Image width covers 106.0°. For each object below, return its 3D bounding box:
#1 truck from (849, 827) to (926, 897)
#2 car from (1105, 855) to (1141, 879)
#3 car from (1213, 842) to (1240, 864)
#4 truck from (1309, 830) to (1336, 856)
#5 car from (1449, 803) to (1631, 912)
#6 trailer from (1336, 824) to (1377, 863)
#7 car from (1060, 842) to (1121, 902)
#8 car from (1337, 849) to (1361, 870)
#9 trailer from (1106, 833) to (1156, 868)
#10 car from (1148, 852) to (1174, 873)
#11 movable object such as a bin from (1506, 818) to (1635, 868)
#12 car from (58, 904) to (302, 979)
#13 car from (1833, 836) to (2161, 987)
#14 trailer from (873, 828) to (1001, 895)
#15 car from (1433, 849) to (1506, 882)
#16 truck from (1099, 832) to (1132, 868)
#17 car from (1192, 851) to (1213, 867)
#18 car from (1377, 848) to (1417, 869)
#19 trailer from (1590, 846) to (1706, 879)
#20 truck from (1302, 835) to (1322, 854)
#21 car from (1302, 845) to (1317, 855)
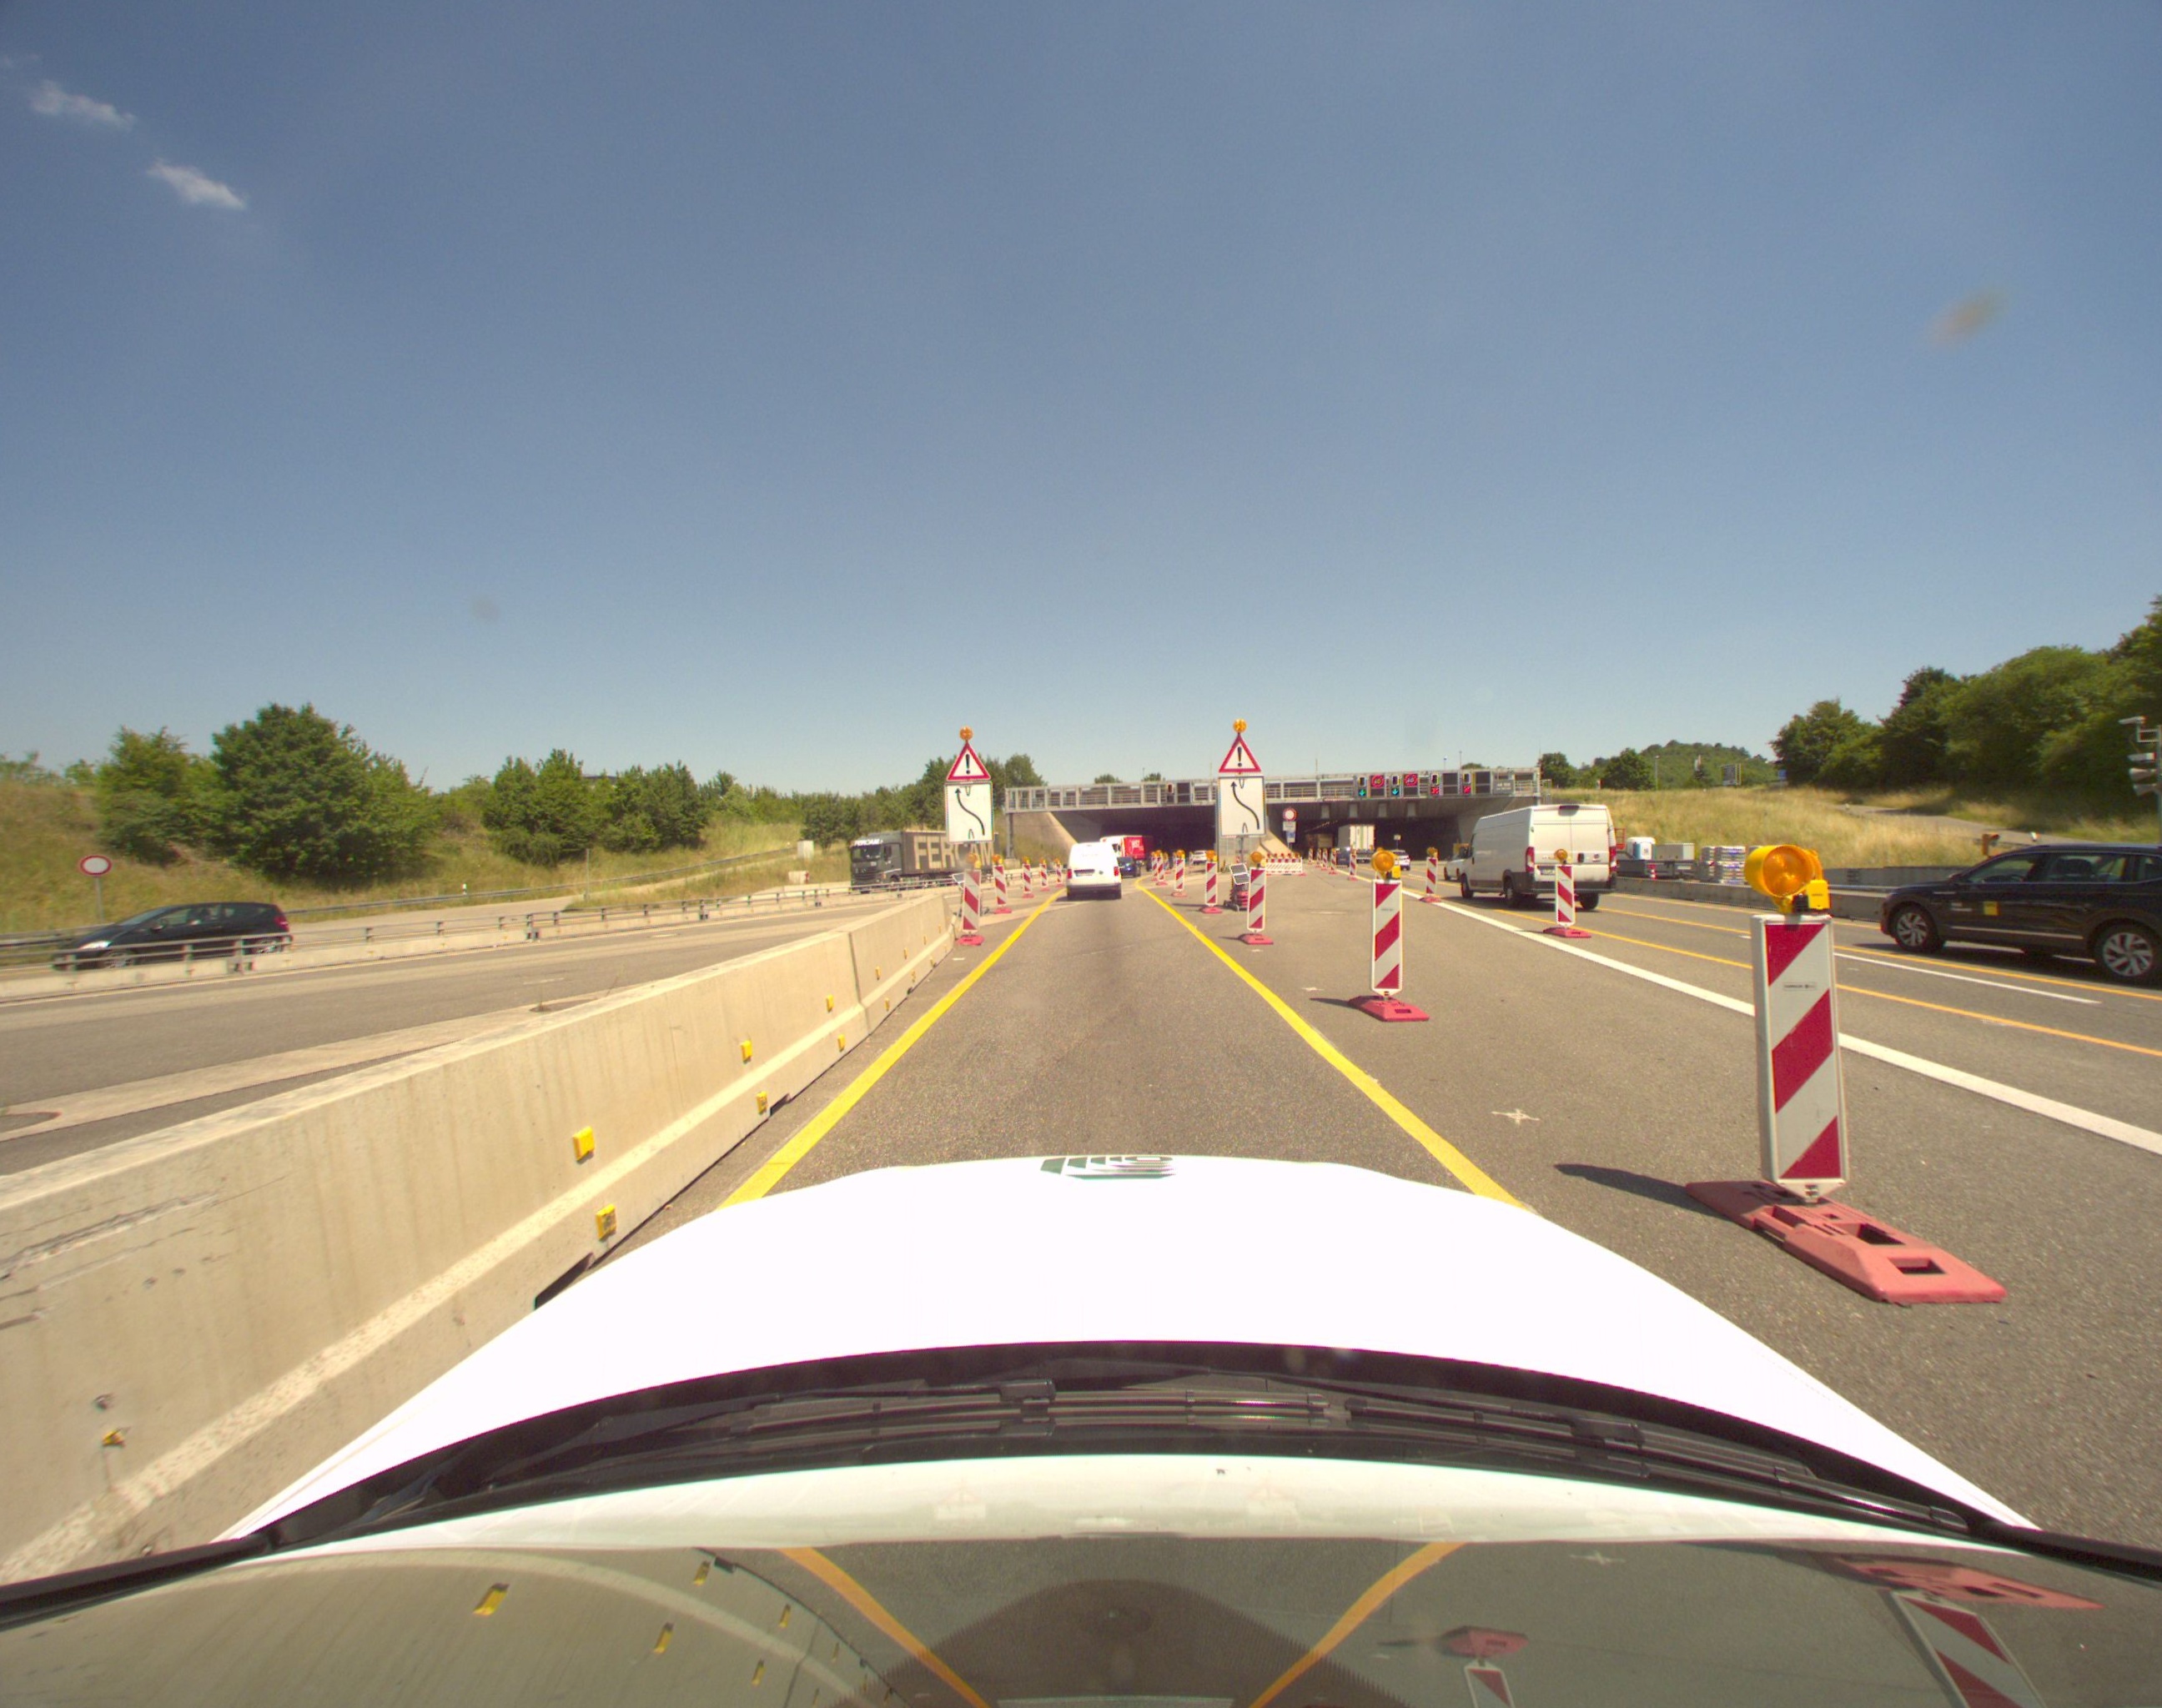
[{"bbox_3d":[-12.472,0.485,52.890,2.411,4.270,4.863,-2,-1,20],"label":"truck"},{"bbox_3d":[2.871,0.837,54.513,1.797,1.537,4.422,-2,-1,10],"label":"car"},{"bbox_3d":[19.857,-0.110,110.783,2.792,2.773,7.132,0,-1,17],"label":"car"},{"bbox_3d":[45.569,-1.973,154.004,3.379,4.335,16.587,0,-1,12],"label":"truck"},{"bbox_3d":[12.255,0.095,22.408,2.252,2.536,6.602,0,0,10],"label":"car"},{"bbox_3d":[30.548,-1.053,90.883,2.714,4.062,14.140,0,0,12],"label":"trailer"},{"bbox_3d":[0.378,0.567,26.861,1.801,1.794,3.733,-2,-1,2],"label":"car"},{"bbox_3d":[22.031,0.436,67.126,1.801,1.642,4.673,0,0,17],"label":"car"},{"bbox_3d":[6.618,-0.445,104.554,2.318,4.102,13.330,-2,-1,21],"label":"trailer"},{"bbox_3d":[7.329,0.718,74.724,1.796,1.815,4.424,-2,-1,12],"label":"car"},{"bbox_3d":[34.764,-0.681,58.821,3.091,3.011,14.747,-2,-1,11],"label":"movable object such as a bin"},{"bbox_3d":[-22.400,2.111,20.436,1.701,1.491,3.706,-2,0,20],"label":"car"},{"bbox_3d":[13.164,0.640,10.827,2.008,1.662,5.248,0,0,8],"label":"car"},{"bbox_3d":[-10.040,0.465,59.483,2.415,4.297,13.879,-2,0,20],"label":"trailer"},{"bbox_3d":[18.513,0.578,39.025,1.805,1.465,4.662,1,-2,8],"label":"car"},{"bbox_3d":[4.214,-0.453,98.216,2.314,4.108,5.043,-2,-1,20],"label":"truck"},{"bbox_3d":[14.123,0.543,94.297,1.795,1.751,4.427,-2,-1,15],"label":"car"},{"bbox_3d":[22.963,0.357,59.369,1.804,1.464,4.664,0,0,9],"label":"car"},{"bbox_3d":[30.746,0.437,44.512,2.580,1.569,6.249,-2,0,8],"label":"trailer"},{"bbox_3d":[54.608,-2.225,193.113,3.379,4.071,16.588,0,0,12],"label":"truck"},{"bbox_3d":[36.840,-0.608,131.526,1.804,1.630,4.200,0,0,8],"label":"car"}]
